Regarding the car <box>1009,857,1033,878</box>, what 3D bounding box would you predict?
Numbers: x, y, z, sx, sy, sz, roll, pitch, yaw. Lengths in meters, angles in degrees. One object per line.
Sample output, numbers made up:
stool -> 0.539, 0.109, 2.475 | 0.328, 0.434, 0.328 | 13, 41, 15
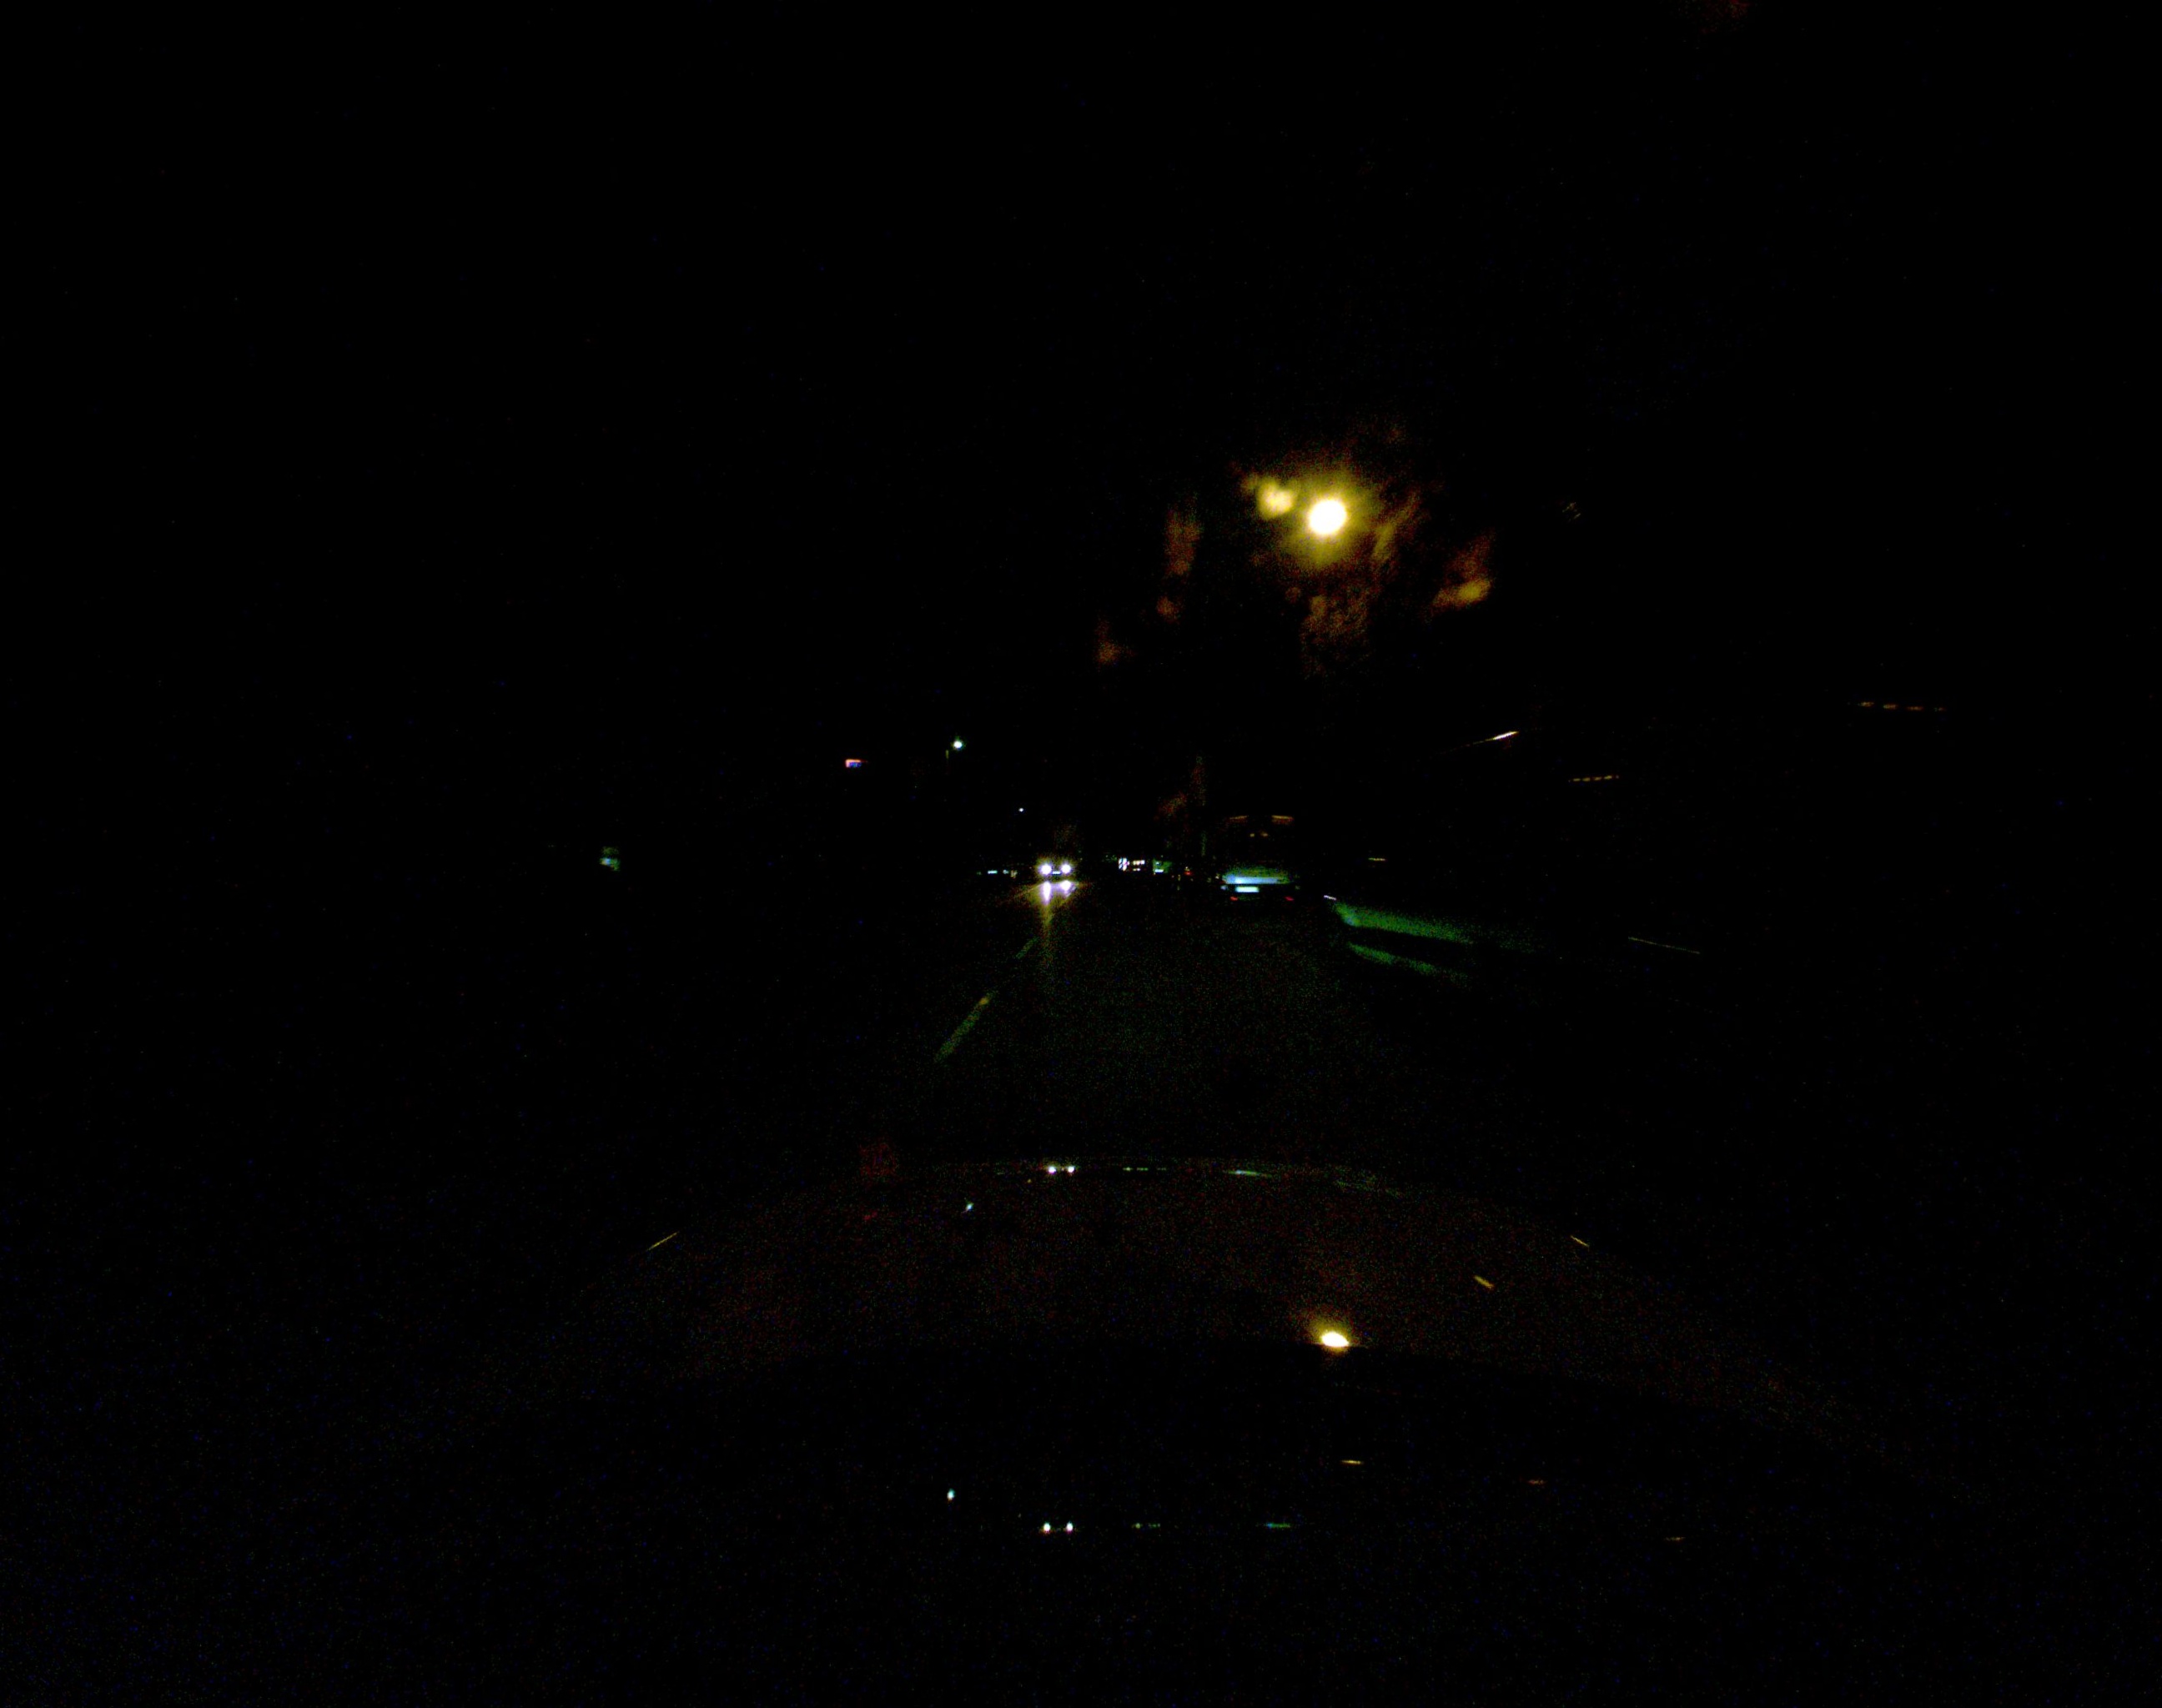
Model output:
car -> -5.188, 1.169, 71.270 | 1.939, 1.717, 5.192 | -2, 0, -3

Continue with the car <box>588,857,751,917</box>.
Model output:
car -> -12.045, 0.914, 23.873 | 4.095, 1.432, 1.906 | 3, 1, 19

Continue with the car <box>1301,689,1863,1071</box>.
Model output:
car -> 4.252, 0.182, 8.540 | 2.122, 2.571, 5.906 | 1, 0, -1

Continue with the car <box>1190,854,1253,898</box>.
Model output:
car -> 4.971, 0.728, 29.307 | 1.762, 1.412, 4.555 | -1, 0, 4

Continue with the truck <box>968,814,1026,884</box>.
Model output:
truck -> -5.233, -0.301, 52.495 | 2.738, 4.034, 9.557 | -1, 0, -1

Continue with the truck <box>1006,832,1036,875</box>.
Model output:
truck -> -6.395, -0.029, 85.859 | 2.769, 4.120, 9.322 | -2, 0, -6

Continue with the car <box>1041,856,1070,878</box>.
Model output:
car -> -1.707, 0.852, 55.719 | 1.851, 1.420, 4.000 | -1, 0, 0

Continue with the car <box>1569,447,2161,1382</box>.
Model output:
car -> 3.963, 0.178, 2.015 | 1.986, 2.571, 6.015 | 1, 0, 1

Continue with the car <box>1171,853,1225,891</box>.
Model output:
car -> 5.034, 0.714, 35.538 | 1.938, 1.489, 5.015 | -1, 0, 4

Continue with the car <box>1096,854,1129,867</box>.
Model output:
car -> 4.555, 0.929, 117.249 | 4.342, 1.646, 1.879 | -4, 1, -21

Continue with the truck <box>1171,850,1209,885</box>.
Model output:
truck -> 5.415, 0.653, 40.779 | 1.365, 1.644, 3.812 | -1, 0, 0

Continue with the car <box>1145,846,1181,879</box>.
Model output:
car -> 5.436, 0.538, 54.622 | 1.986, 2.013, 4.913 | -2, 0, 1

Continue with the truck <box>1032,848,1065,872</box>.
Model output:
truck -> -5.474, 0.957, 134.352 | 2.764, 3.783, 9.076 | -1, 0, -19

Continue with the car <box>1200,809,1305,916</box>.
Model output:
car -> 4.573, 0.198, 22.645 | 1.985, 2.526, 5.915 | 1, 0, 4
